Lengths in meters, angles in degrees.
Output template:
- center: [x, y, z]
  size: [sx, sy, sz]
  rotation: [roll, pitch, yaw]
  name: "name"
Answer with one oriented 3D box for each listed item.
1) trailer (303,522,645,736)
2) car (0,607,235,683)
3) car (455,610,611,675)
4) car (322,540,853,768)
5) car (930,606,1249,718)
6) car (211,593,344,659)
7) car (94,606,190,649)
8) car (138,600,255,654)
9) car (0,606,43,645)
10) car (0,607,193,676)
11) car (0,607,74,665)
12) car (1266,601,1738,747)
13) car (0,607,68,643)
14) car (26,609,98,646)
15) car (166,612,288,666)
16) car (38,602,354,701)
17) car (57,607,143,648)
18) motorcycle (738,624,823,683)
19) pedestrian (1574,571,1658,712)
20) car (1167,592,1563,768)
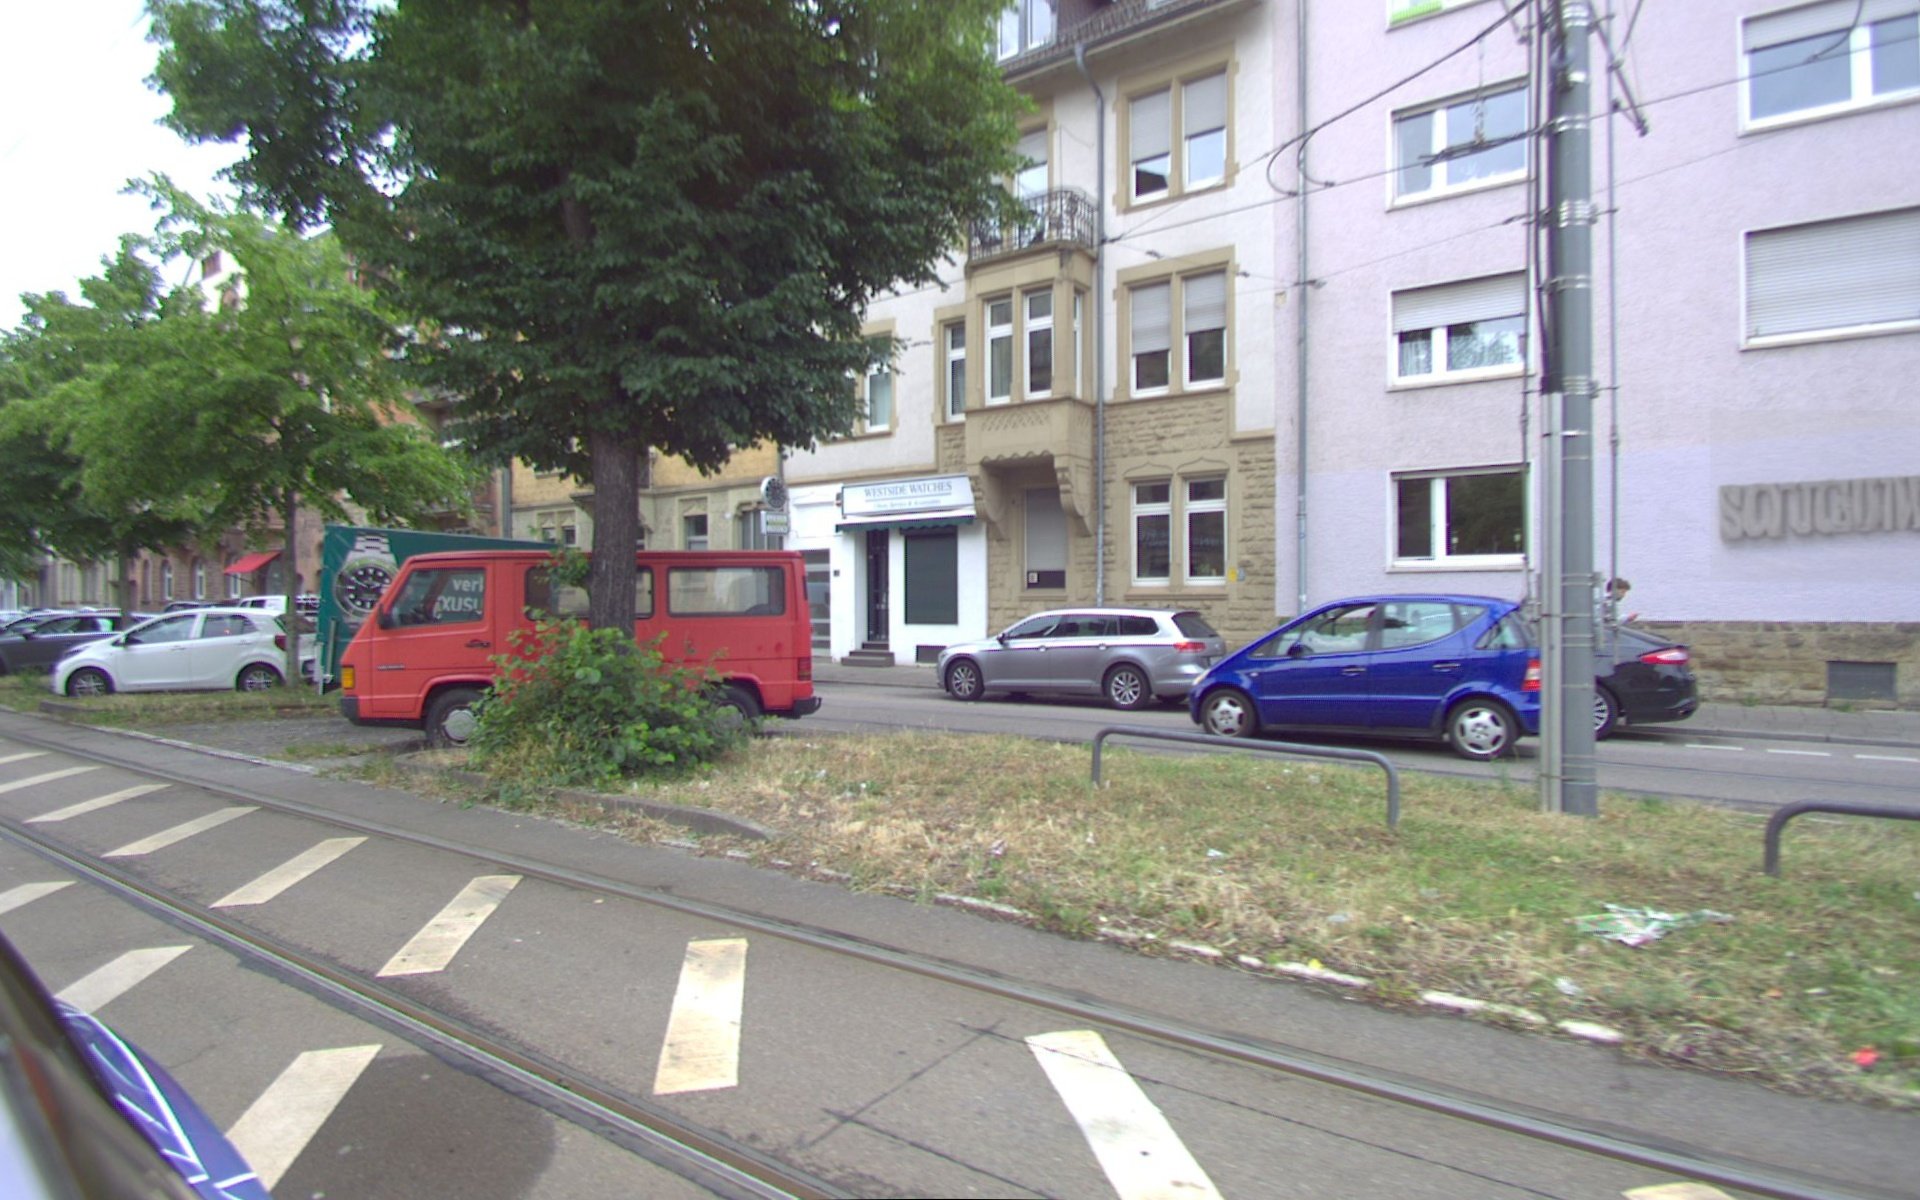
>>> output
- center: [-5.946, 0.317, 12.752]
  size: [3.607, 2.362, 1.937]
  rotation: [0, 0, -22]
  name: "trailer"
- center: [-17.850, 0.897, 20.910]
  size: [4.268, 1.445, 1.904]
  rotation: [-1, 0, -13]
  name: "car"
- center: [-10.422, 0.981, 24.626]
  size: [3.913, 1.454, 1.621]
  rotation: [-1, 0, 34]
  name: "car"
- center: [-3.609, 0.461, 10.451]
  size: [4.687, 1.989, 1.965]
  rotation: [0, 0, -16]
  name: "car"
- center: [1.865, 0.840, 15.320]
  size: [4.558, 1.454, 1.621]
  rotation: [-1, 0, 34]
  name: "car"
- center: [-21.934, 0.785, 32.455]
  size: [5.082, 1.967, 1.865]
  rotation: [0, 0, 35]
  name: "car"
- center: [-31.860, 1.030, 39.378]
  size: [4.543, 1.553, 1.726]
  rotation: [0, 0, 35]
  name: "car"
- center: [-26.900, 0.890, 35.601]
  size: [5.105, 1.795, 1.798]
  rotation: [0, 0, 35]
  name: "car"
- center: [-38.831, 1.001, 41.045]
  size: [3.874, 1.515, 1.630]
  rotation: [0, 0, 35]
  name: "car"
- center: [-20.443, 0.904, 22.838]
  size: [4.609, 1.445, 1.904]
  rotation: [-1, 0, -15]
  name: "car"
- center: [-26.668, 0.970, 27.119]
  size: [4.048, 1.495, 1.802]
  rotation: [-1, 0, -14]
  name: "car"
- center: [6.311, 0.767, 12.217]
  size: [4.750, 1.454, 1.621]
  rotation: [-1, 0, 34]
  name: "car"
- center: [-44.751, 1.170, 48.741]
  size: [4.310, 1.641, 1.754]
  rotation: [0, 0, 35]
  name: "car"
- center: [-40.798, 1.220, 45.966]
  size: [3.713, 1.571, 1.648]
  rotation: [0, 0, 35]
  name: "car"
- center: [-20.782, 1.048, 28.665]
  size: [3.874, 1.393, 1.630]
  rotation: [0, 0, 35]
  name: "car"
- center: [-12.397, 0.784, 16.677]
  size: [3.799, 1.474, 1.694]
  rotation: [-1, 0, -13]
  name: "car"
- center: [-36.802, 1.120, 43.265]
  size: [4.543, 1.638, 1.726]
  rotation: [0, 0, 35]
  name: "car"
- center: [-3.556, 1.018, 19.910]
  size: [0.699, 1.046, 2.235]
  rotation: [0, 0, -38]
  name: "motorcycle"
- center: [8.686, 0.531, 13.409]
  size: [0.898, 1.779, 0.791]
  rotation: [-1, -1, 34]
  name: "pedestrian"
- center: [4.182, 0.702, 10.589]
  size: [3.619, 1.546, 1.631]
  rotation: [0, 0, 33]
  name: "car"
